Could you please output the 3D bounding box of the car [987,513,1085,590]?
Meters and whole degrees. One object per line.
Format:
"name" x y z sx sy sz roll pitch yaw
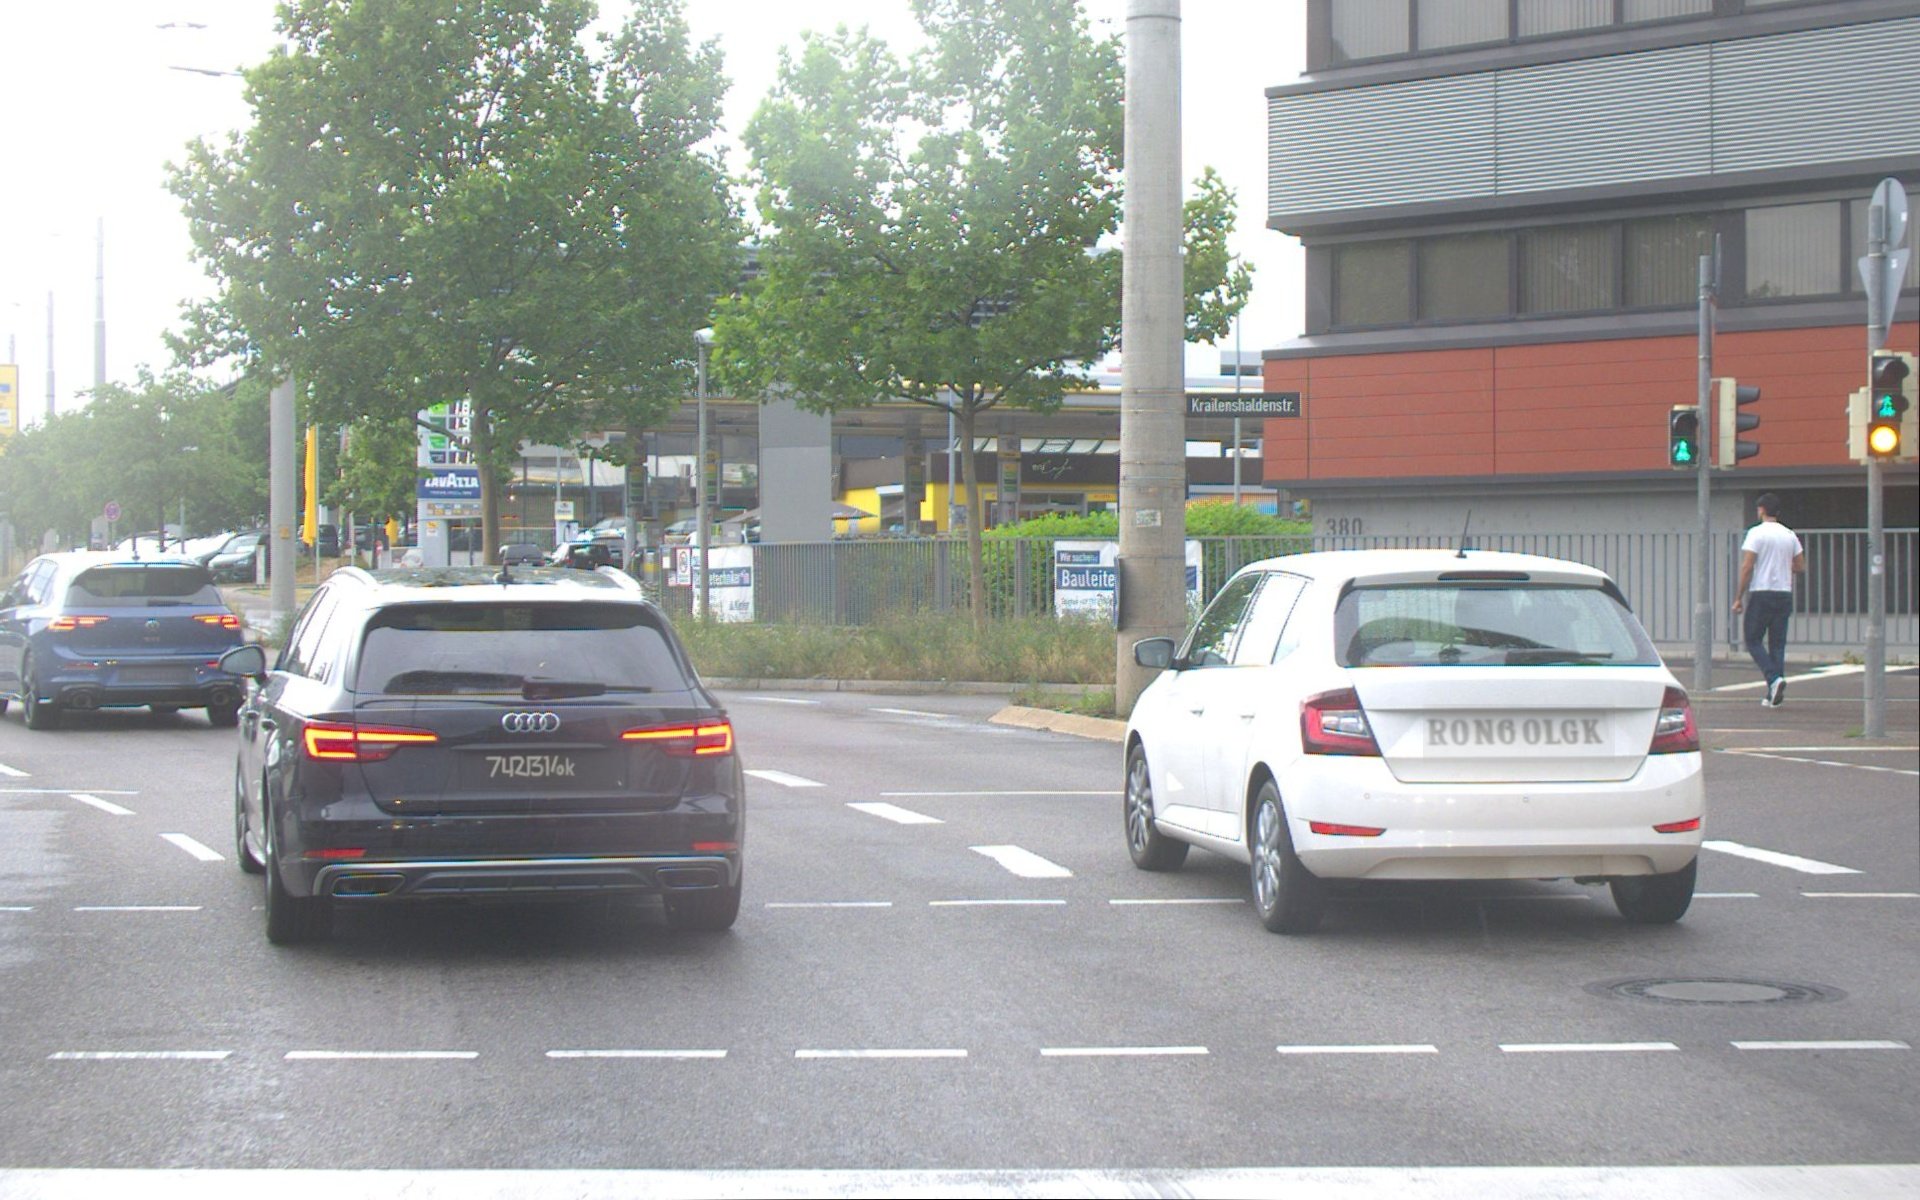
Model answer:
"car" 2.055 -1.309 93.848 1.674 2.007 3.139 2 0 -18

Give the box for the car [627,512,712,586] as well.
"car" -8.381 -1.461 98.878 1.678 2.007 3.543 2 0 -16

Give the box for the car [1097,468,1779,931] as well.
"car" 1.824 0.370 14.453 1.828 1.650 4.001 1 0 -7

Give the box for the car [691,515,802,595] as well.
"car" -5.619 -1.176 90.085 1.993 2.025 4.001 -1 1 -17

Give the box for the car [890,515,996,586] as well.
"car" -0.530 -1.467 102.198 1.869 2.007 3.775 2 0 -21

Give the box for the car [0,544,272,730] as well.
"car" -7.080 0.297 29.235 1.893 1.460 3.910 1 0 -19

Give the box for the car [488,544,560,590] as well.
"car" -15.423 -1.185 121.407 1.791 1.586 4.001 0 1 -18

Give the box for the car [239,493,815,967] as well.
"car" -1.866 0.428 14.049 1.993 1.631 4.001 -1 1 -10

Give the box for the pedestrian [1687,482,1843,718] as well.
"pedestrian" 7.429 -0.018 31.794 1.143 2.118 1.222 -1 2 -1
